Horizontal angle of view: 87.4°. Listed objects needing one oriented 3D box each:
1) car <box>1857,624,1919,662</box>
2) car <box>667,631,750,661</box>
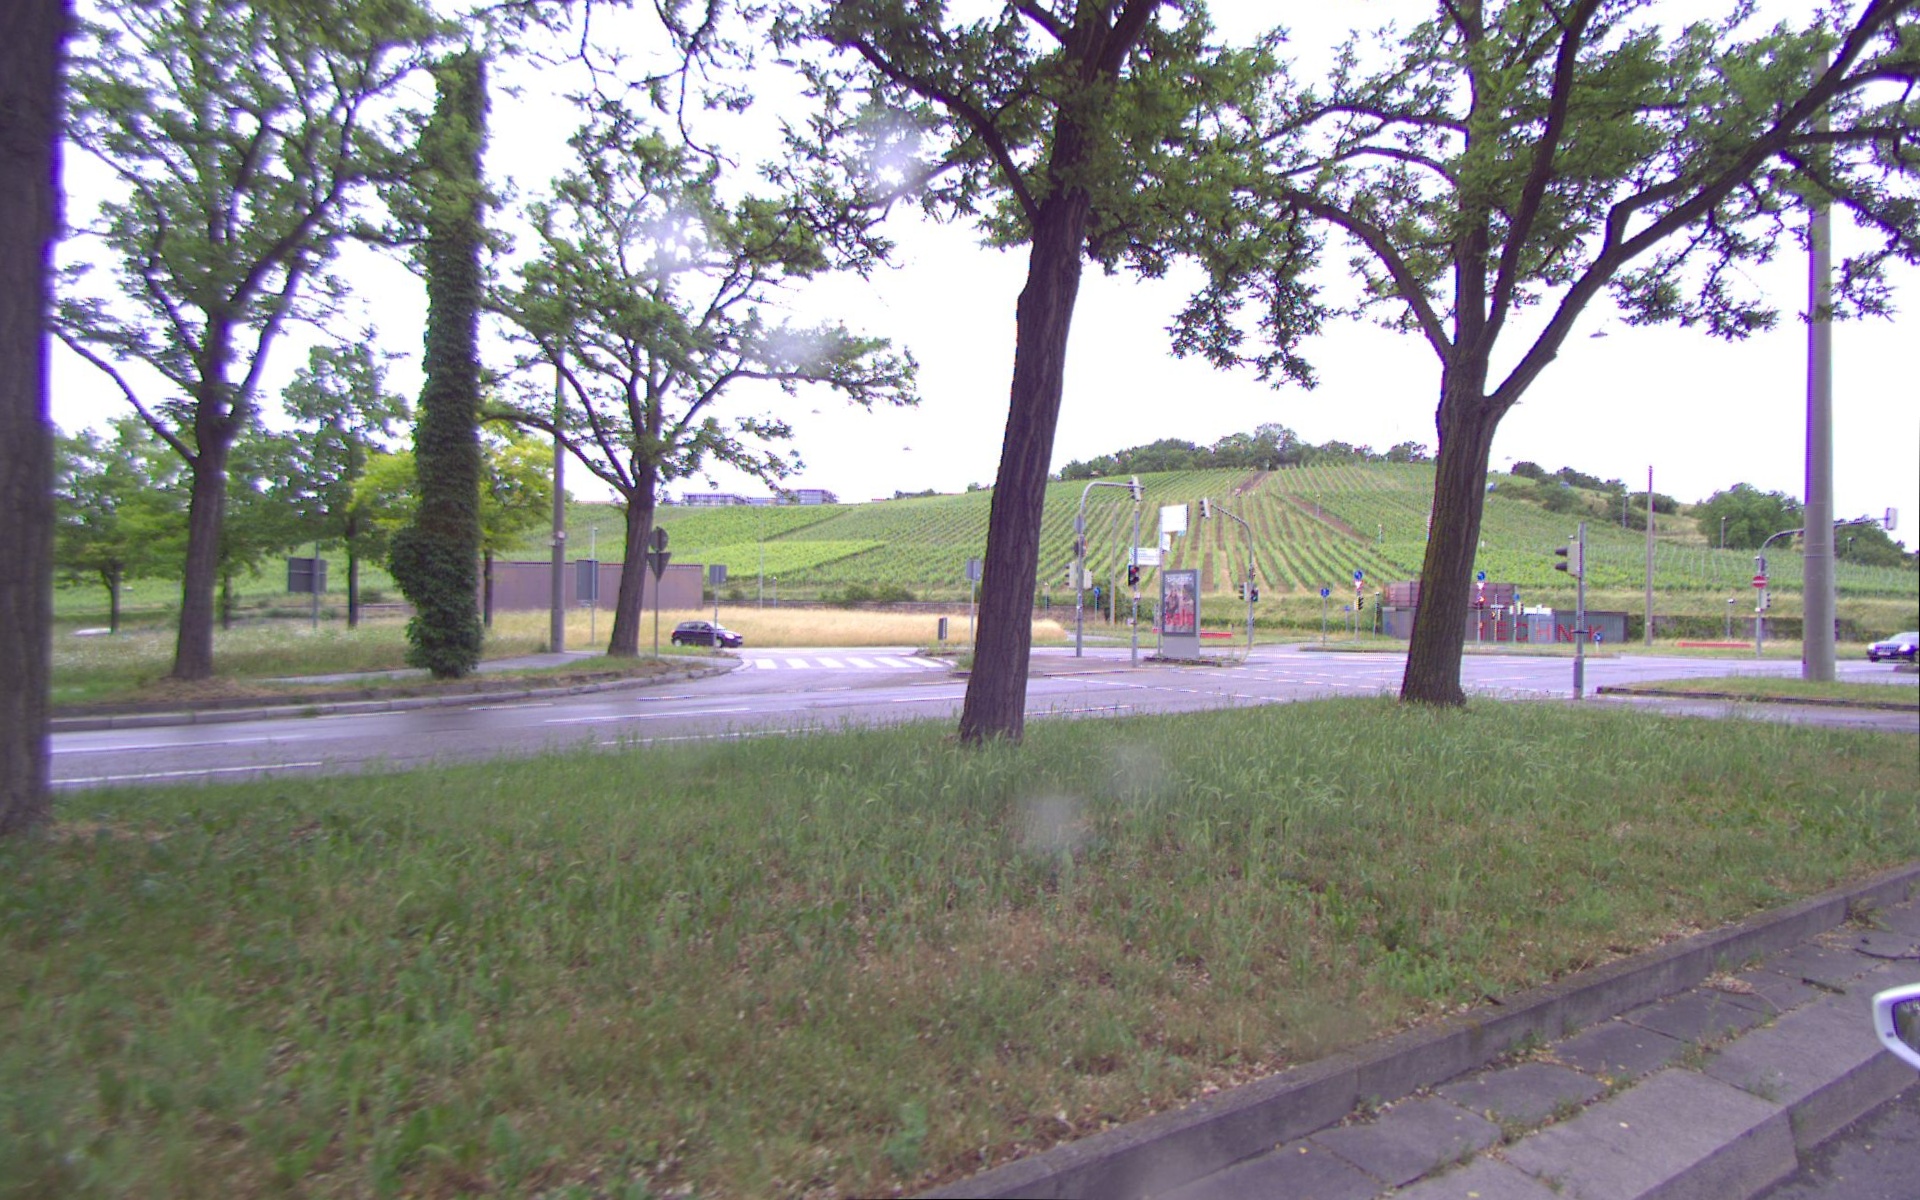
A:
[{"bbox_3d":[45.375,2.061,48.130,4.501,1.645,1.825,2,1,-23],"label":"car"},{"bbox_3d":[-13.339,2.405,53.377,3.921,1.307,1.799,3,1,19],"label":"car"}]
